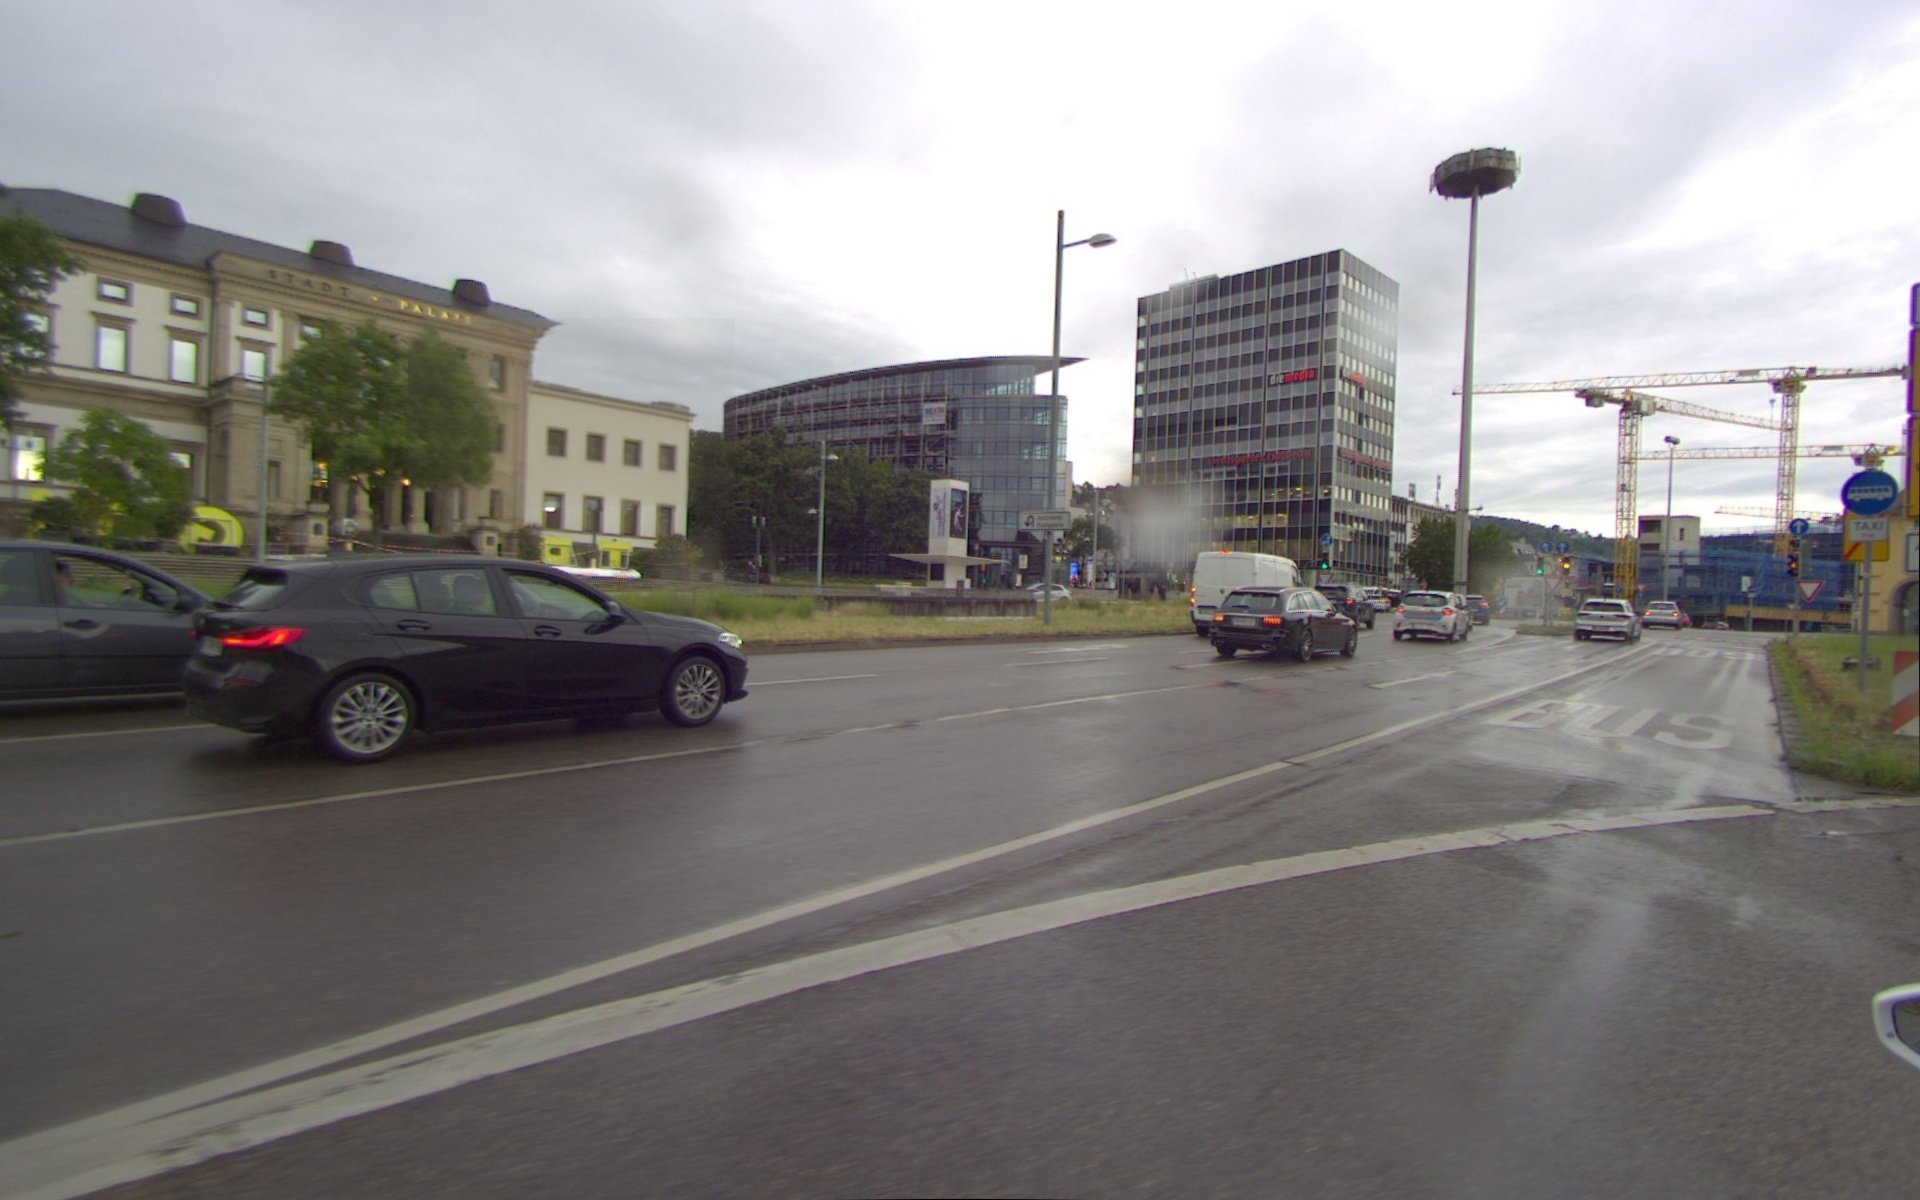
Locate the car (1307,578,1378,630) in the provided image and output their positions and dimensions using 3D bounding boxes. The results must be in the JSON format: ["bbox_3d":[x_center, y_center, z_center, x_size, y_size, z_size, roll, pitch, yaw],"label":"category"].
[{"bbox_3d":[13.913,0.160,36.476,1.446,1.729,3.127,4,0,39],"label":"car"}]

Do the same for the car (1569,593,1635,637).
[{"bbox_3d":[22.260,0.524,34.810,1.429,1.377,2.397,4,0,44],"label":"car"}]

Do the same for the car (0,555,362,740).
[{"bbox_3d":[-7.660,0.362,8.767,1.524,1.434,3.883,3,1,41],"label":"car"}]

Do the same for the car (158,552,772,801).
[{"bbox_3d":[-3.760,0.439,8.264,1.733,1.491,4.202,3,2,40],"label":"car"}]

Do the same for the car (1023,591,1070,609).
[{"bbox_3d":[5.083,0.002,58.738,2.607,0.953,1.036,3,0,-30],"label":"car"}]

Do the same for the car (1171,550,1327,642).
[{"bbox_3d":[8.345,-0.072,28.736,2.266,2.345,4.980,4,0,42],"label":"car"}]

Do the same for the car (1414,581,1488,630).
[{"bbox_3d":[19.364,0.252,39.558,1.696,1.750,3.477,4,0,41],"label":"car"}]

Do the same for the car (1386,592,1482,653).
[{"bbox_3d":[14.505,0.692,30.680,1.857,1.674,3.443,3,0,39],"label":"car"}]

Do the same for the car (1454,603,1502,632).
[{"bbox_3d":[27.180,0.942,52.676,1.476,1.387,3.018,4,0,41],"label":"car"}]

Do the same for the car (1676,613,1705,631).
[{"bbox_3d":[61.099,1.854,83.976,1.695,1.383,3.053,4,0,41],"label":"car"}]

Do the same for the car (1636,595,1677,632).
[{"bbox_3d":[36.933,0.692,53.239,1.645,1.765,3.276,4,3,35],"label":"car"}]

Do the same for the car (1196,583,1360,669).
[{"bbox_3d":[6.425,0.476,20.152,1.810,1.515,3.379,4,2,43],"label":"car"}]
